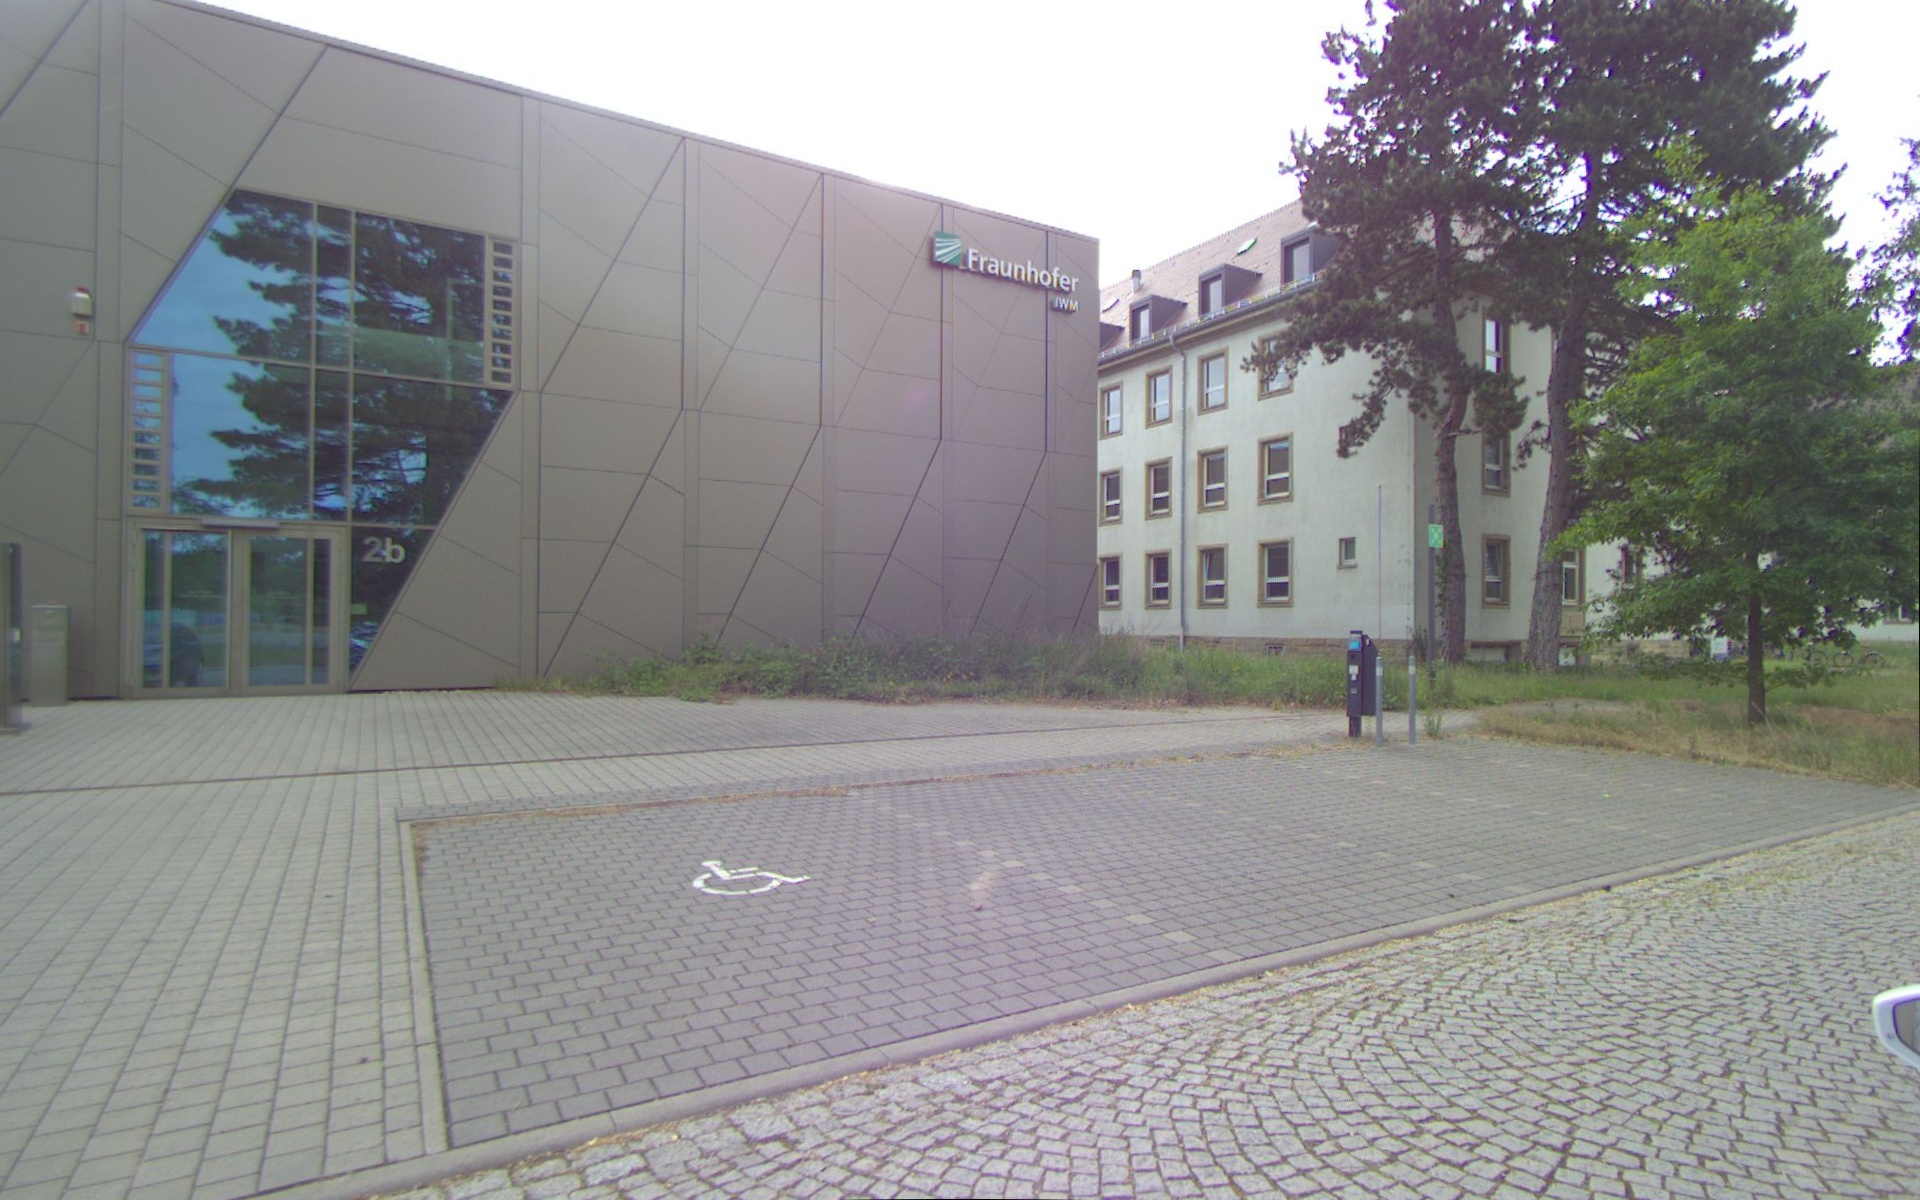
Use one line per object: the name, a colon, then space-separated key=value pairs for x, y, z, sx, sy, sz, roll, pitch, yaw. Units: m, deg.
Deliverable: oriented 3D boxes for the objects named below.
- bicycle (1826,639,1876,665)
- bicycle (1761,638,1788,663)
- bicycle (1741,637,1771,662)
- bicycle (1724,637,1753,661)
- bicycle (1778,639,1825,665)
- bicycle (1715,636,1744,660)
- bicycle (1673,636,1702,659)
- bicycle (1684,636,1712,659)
bicycle: x=37.027 y=2.153 z=41.759 sx=0.510 sy=1.079 sz=1.457 roll=1 pitch=-2 yaw=-32
bicycle: x=36.522 y=2.257 z=45.024 sx=1.569 sy=1.093 sz=0.511 roll=2 pitch=-2 yaw=-34
bicycle: x=36.108 y=2.248 z=45.563 sx=1.565 sy=1.093 sz=0.512 roll=1 pitch=-2 yaw=-28
bicycle: x=35.834 y=2.243 z=46.219 sx=1.567 sy=1.093 sz=0.512 roll=1 pitch=-2 yaw=-31
bicycle: x=36.066 y=2.207 z=43.084 sx=0.510 sy=1.093 sz=1.457 roll=1 pitch=-2 yaw=-32
bicycle: x=35.657 y=2.239 z=46.533 sx=1.567 sy=1.093 sz=0.512 roll=1 pitch=-2 yaw=-31
bicycle: x=34.740 y=2.256 z=47.966 sx=1.567 sy=1.093 sz=0.512 roll=1 pitch=-2 yaw=-31
bicycle: x=34.972 y=2.258 z=47.580 sx=1.567 sy=1.093 sz=0.512 roll=1 pitch=-2 yaw=-31
